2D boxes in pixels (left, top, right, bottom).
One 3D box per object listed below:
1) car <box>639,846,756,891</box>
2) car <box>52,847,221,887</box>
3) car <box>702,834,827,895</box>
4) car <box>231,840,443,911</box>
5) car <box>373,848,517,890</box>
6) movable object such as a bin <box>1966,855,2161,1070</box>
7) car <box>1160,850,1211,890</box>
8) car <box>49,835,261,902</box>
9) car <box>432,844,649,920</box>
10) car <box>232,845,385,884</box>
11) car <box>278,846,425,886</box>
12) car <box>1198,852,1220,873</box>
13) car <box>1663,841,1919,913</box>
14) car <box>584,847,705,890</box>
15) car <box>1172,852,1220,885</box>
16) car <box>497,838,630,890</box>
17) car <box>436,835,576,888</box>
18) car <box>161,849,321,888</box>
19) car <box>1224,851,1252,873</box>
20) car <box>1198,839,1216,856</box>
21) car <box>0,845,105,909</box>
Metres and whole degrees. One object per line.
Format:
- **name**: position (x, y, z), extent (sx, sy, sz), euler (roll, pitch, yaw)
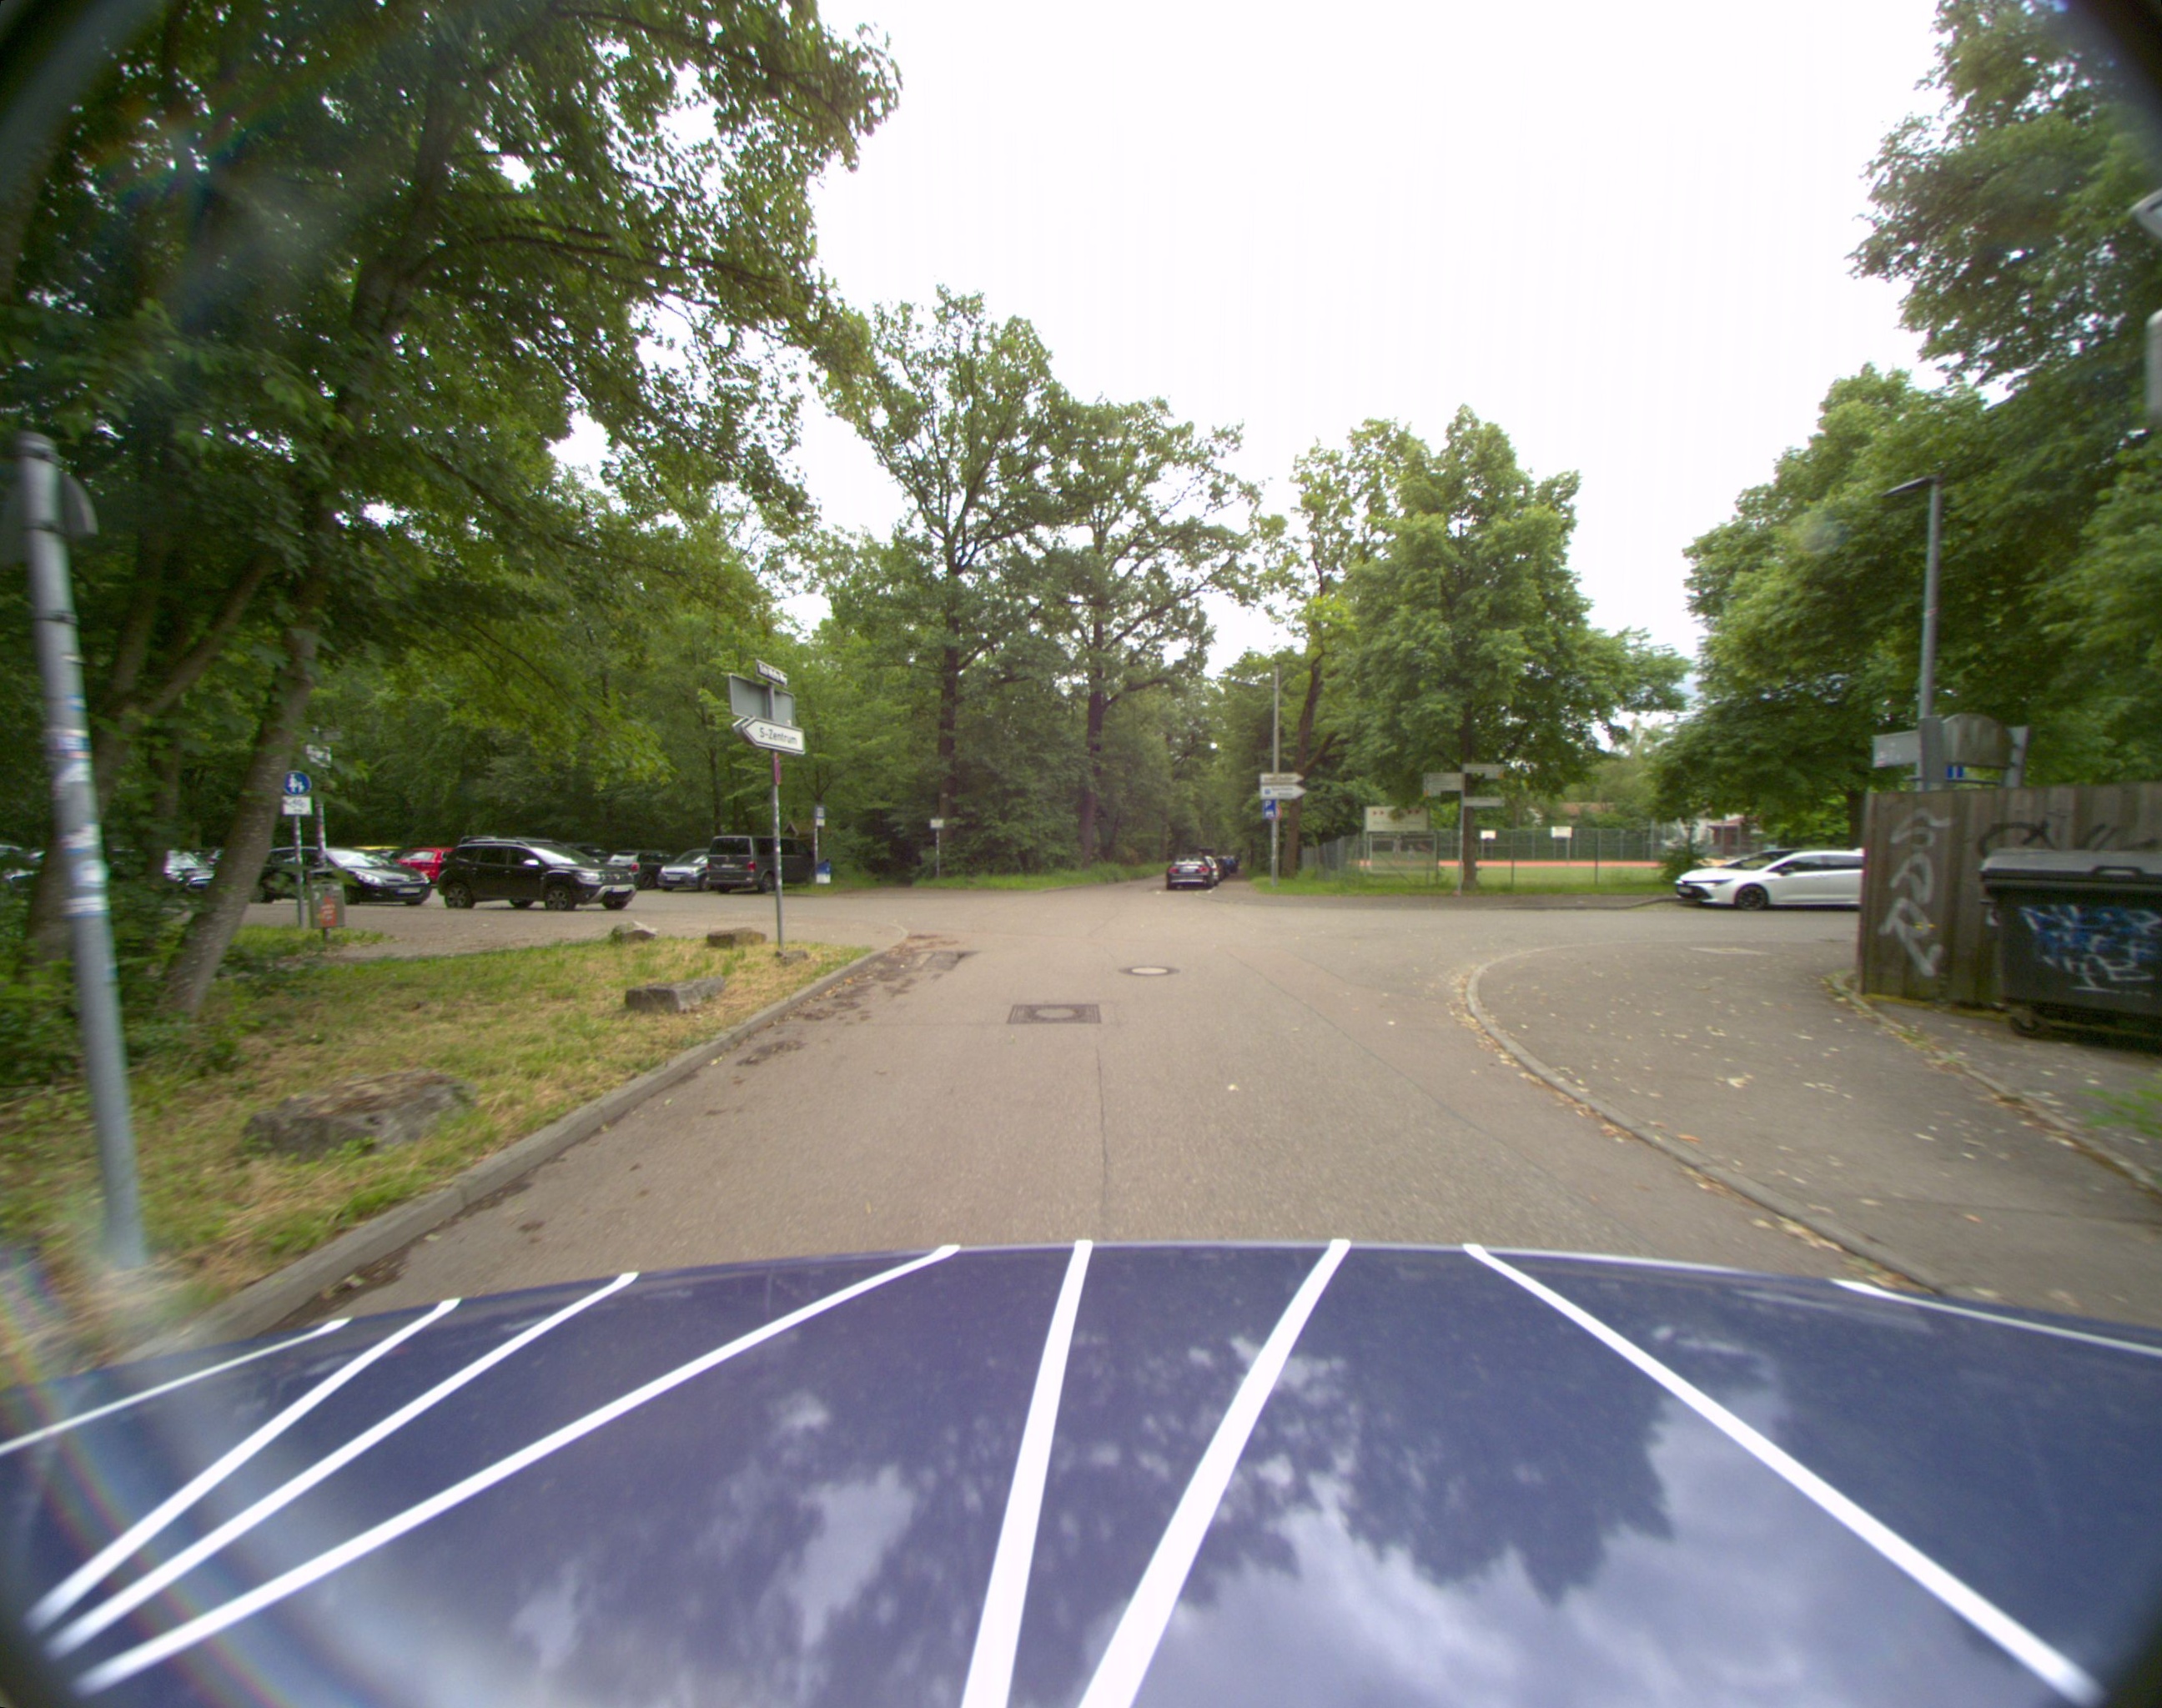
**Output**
- **car**: position (-13.751, 0.482, 27.520), extent (1.806, 1.504, 3.830), euler (0, 0, 11)
- **car**: position (-38.509, 0.485, 31.145), extent (1.712, 1.541, 4.002), euler (0, 0, 8)
- **car**: position (-11.043, 0.325, 26.925), extent (1.888, 1.966, 4.521), euler (0, 0, 11)
- **car**: position (-18.442, 0.479, 18.913), extent (3.991, 1.624, 1.817), euler (1, 1, 12)
- **car**: position (-23.771, 0.506, 28.617), extent (1.777, 1.467, 4.002), euler (0, 0, 7)
- **movable object such as a bin**: position (7.663, 0.746, 5.637), extent (1.081, 1.434, 1.282), euler (0, 2, -35)
- **car**: position (4.284, 0.628, 30.761), extent (1.769, 1.485, 4.331), euler (-1, -1, 11)
- **car**: position (-23.995, 0.331, 19.753), extent (3.991, 1.624, 1.817), euler (1, 1, 12)
- **car**: position (-12.606, 0.596, 17.817), extent (4.092, 1.624, 1.817), euler (1, 1, 12)
- **car**: position (-30.801, 0.368, 30.473), extent (1.731, 1.430, 4.002), euler (0, 2, 9)
- **car**: position (-28.627, 0.417, 30.017), extent (1.615, 1.430, 4.002), euler (0, 2, 9)
- **car**: position (10.098, 0.650, 60.272), extent (1.618, 1.583, 3.521), euler (-1, 0, 8)
- **car**: position (17.056, 0.510, 18.495), extent (4.209, 1.587, 1.771), euler (0, 3, 11)
- **car**: position (-16.131, 0.477, 28.316), extent (1.718, 1.422, 4.002), euler (0, 2, 10)
- **car**: position (5.440, 0.691, 35.576), extent (1.997, 1.411, 4.004), euler (-1, -1, 11)
- **car**: position (-18.963, 0.306, 28.081), extent (1.821, 1.756, 4.001), euler (0, 2, 7)
- **car**: position (-21.366, 0.203, 28.462), extent (1.811, 1.852, 4.002), euler (0, 2, 9)
- **car**: position (-33.644, 0.534, 30.601), extent (1.712, 1.430, 4.003), euler (0, 0, 9)
- **car**: position (12.670, 0.624, 61.609), extent (1.956, 1.609, 3.641), euler (1, 1, 8)
- **car**: position (18.782, -0.959, 113.477), extent (2.578, 2.520, 4.938), euler (-1, 1, 9)
- **car**: position (-29.666, 0.576, 20.893), extent (4.367, 1.624, 1.743), euler (1, 1, 13)
